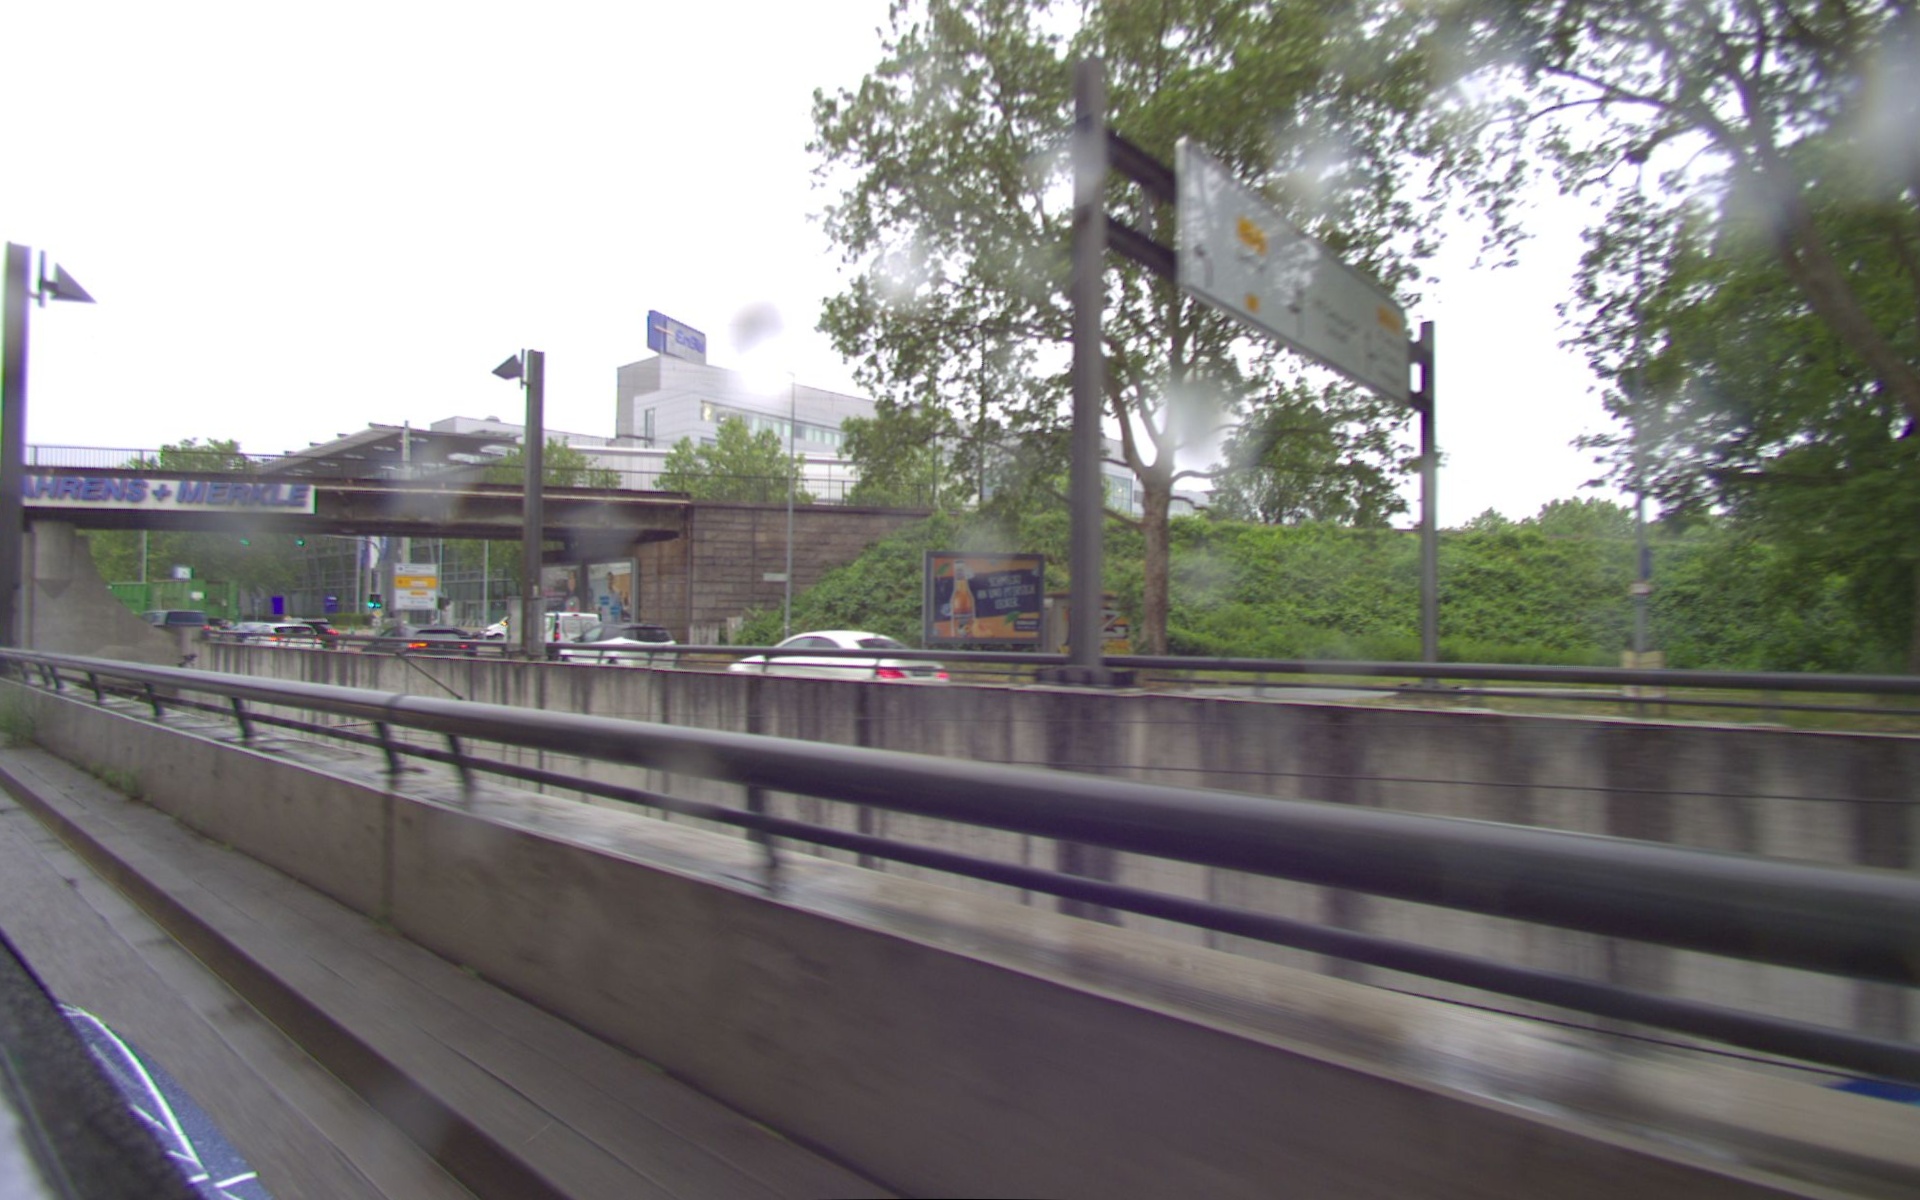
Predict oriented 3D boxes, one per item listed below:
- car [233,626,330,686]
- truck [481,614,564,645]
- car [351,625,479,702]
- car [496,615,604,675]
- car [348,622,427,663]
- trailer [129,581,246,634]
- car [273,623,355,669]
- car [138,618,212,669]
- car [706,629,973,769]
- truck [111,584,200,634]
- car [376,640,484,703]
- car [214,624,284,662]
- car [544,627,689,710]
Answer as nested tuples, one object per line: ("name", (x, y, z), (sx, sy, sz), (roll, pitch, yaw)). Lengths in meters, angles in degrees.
("car", (-25.069, 2.003, 37.349), (3.998, 2.029, 1.973), (-1, 0, 41))
("truck", (-31.315, 2.072, 72.635), (5.174, 2.029, 2.221), (-1, 0, -14))
("car", (-15.786, 1.753, 29.257), (3.998, 2.029, 1.973), (-1, 0, 41))
("car", (-15.175, 1.604, 37.375), (4.194, 2.029, 1.973), (-1, 0, 41))
("car", (-27.397, 1.982, 48.368), (4.194, 1.804, 1.973), (-1, 0, 41))
("trailer", (-51.696, 0.547, 67.541), (11.102, 3.284, 3.292), (-1, 0, 37))
("car", (-29.181, 2.025, 45.656), (4.364, 1.944, 1.973), (-1, 0, 41))
("car", (-37.739, 2.044, 48.627), (4.364, 2.260, 1.973), (-1, 0, 41))
("car", (-2.175, 1.545, 17.414), (4.613, 2.029, 1.973), (-1, 0, 41))
("truck", (-56.621, 0.657, 71.206), (6.512, 3.334, 3.344), (-1, 0, 36))
("car", (-19.308, 2.521, 36.777), (4.508, 2.029, 1.973), (-1, 0, 41))
("car", (-36.123, 2.161, 51.390), (4.194, 1.804, 1.973), (-1, 0, 41))
("car", (-9.381, 1.769, 27.492), (3.998, 2.029, 1.973), (-1, 0, 41))
